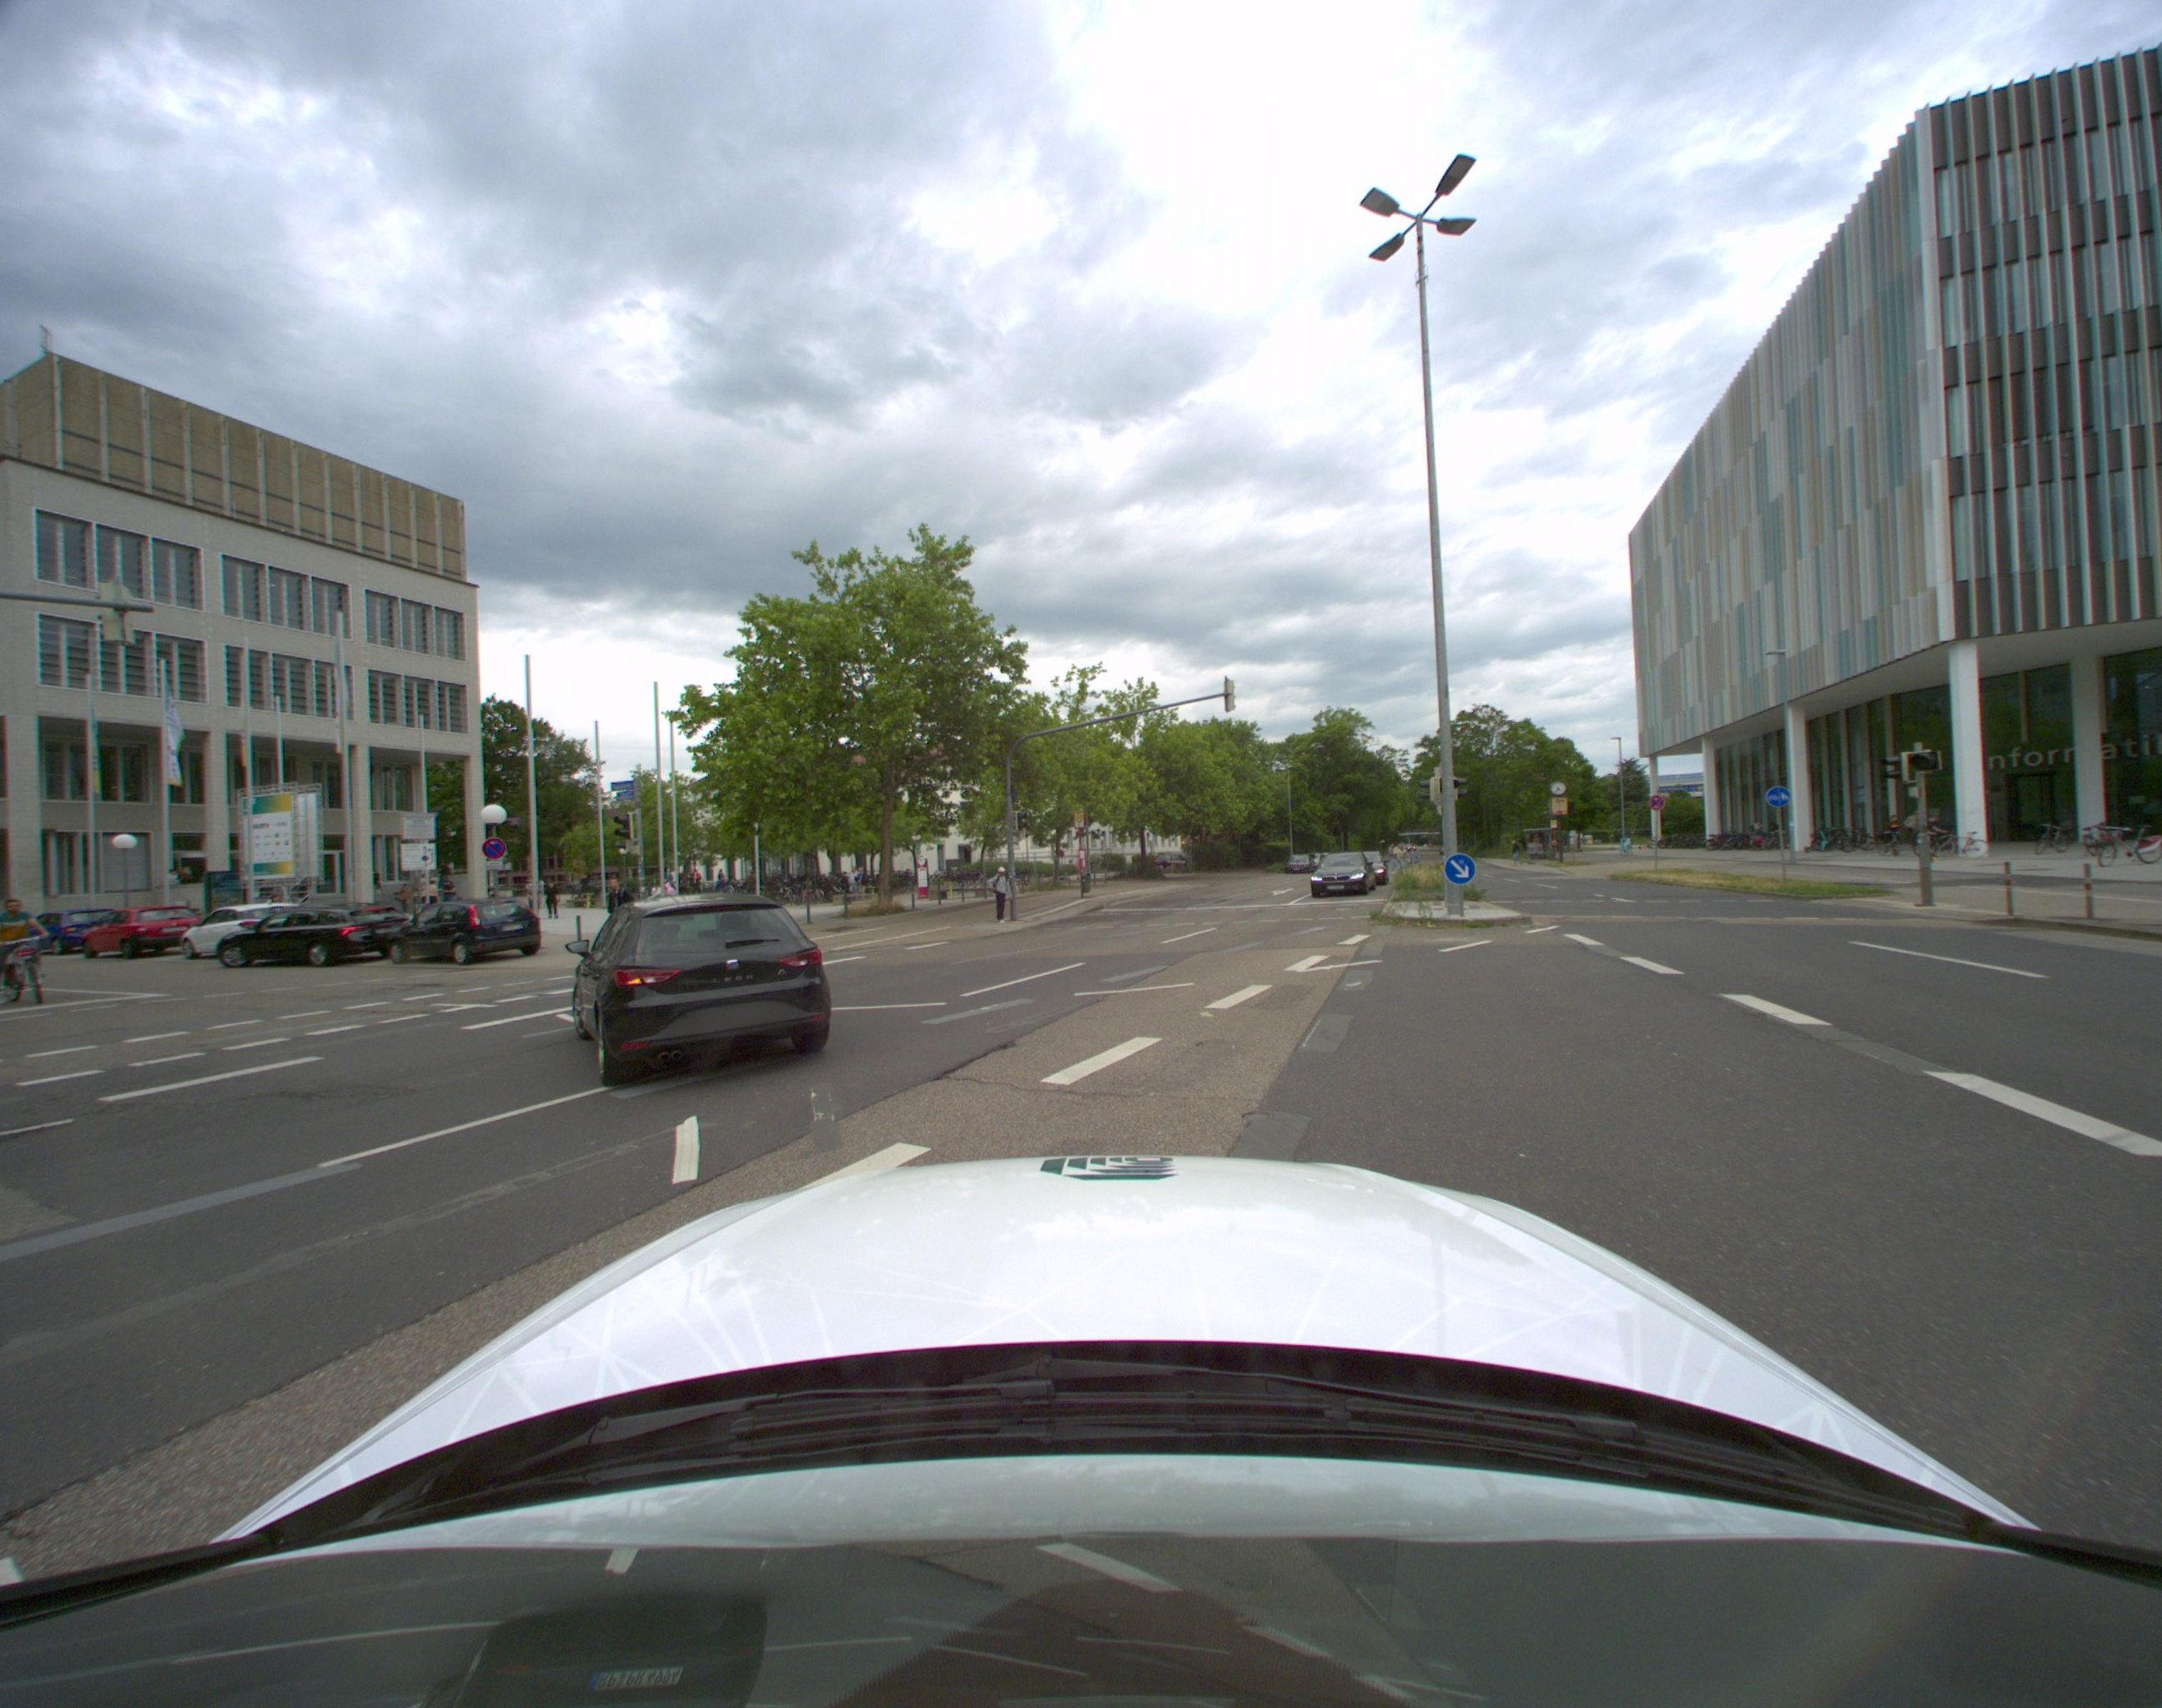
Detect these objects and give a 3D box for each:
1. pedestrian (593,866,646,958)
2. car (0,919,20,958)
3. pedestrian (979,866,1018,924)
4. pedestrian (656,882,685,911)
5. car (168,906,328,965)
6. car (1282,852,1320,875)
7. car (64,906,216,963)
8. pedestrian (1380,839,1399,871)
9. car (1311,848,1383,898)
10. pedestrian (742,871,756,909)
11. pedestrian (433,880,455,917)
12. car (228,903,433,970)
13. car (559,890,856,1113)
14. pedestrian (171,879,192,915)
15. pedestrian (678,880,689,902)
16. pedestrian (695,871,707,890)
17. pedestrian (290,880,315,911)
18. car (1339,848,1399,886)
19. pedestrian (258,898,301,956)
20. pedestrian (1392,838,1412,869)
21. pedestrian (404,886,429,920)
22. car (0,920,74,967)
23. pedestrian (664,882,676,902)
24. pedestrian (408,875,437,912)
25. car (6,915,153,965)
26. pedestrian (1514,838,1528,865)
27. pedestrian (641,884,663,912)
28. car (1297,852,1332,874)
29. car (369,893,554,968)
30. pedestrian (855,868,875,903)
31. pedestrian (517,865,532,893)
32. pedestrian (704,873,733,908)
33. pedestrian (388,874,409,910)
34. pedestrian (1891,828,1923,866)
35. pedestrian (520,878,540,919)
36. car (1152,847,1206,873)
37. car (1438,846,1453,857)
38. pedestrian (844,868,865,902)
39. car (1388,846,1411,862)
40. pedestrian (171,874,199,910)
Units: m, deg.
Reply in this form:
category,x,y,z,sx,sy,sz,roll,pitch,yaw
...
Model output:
category,x,y,z,sx,sy,sz,roll,pitch,yaw
pedestrian,-10.240,1.271,18.061,0.798,1.952,0.748,-2,-1,-43
car,-43.432,3.360,31.377,4.467,1.443,1.834,-3,1,21
pedestrian,-2.413,1.183,23.849,0.783,1.626,0.763,0,2,35
pedestrian,-21.601,2.236,42.855,0.959,1.420,0.855,-3,-1,11
car,-23.892,2.328,23.378,3.812,1.453,1.877,-3,-1,22
car,16.476,0.676,60.972,1.975,1.512,4.023,-3,-1,25
car,-29.173,2.495,25.245,4.222,1.473,1.727,-3,2,22
pedestrian,18.143,0.063,47.895,0.711,1.788,0.894,-3,-1,-2
car,9.412,0.624,28.617,1.976,1.489,4.315,-4,-1,22
pedestrian,-16.366,1.774,40.111,0.512,1.833,0.667,-3,-1,-27
pedestrian,-33.161,2.298,42.392,0.603,1.865,0.774,-4,0,-19
car,-19.281,2.111,20.948,4.428,1.401,1.876,-3,2,18
car,-3.762,1.101,7.746,1.796,1.419,4.084,-2,-1,-36
pedestrian,-43.360,2.060,39.263,0.796,1.659,0.635,-1,-1,39
pedestrian,-31.985,2.977,65.578,0.663,1.641,0.661,-4,0,-21
pedestrian,-34.070,2.411,72.990,0.658,1.641,0.666,-3,-1,20
pedestrian,-39.217,2.096,41.034,0.623,1.526,0.719,-1,-1,24
car,12.435,0.520,35.001,1.975,1.453,4.023,-3,-1,25
pedestrian,-25.734,2.334,26.140,0.810,1.787,0.799,-4,-1,34
pedestrian,18.925,-0.023,48.011,0.711,1.788,0.894,-3,-1,-2
pedestrian,-34.566,2.555,42.356,0.596,1.715,0.783,-4,-1,24
car,-38.949,3.224,29.576,4.365,1.442,1.865,-1,0,23
pedestrian,-35.836,3.313,70.999,0.658,1.641,0.666,-3,-1,21
pedestrian,-32.816,1.958,40.585,0.730,1.785,0.766,-3,-1,9
car,-34.162,2.925,27.780,4.326,1.411,1.709,-3,0,19
pedestrian,31.046,-0.173,57.493,0.799,1.810,0.592,-3,-1,27
pedestrian,-22.610,2.323,42.934,0.767,1.413,0.671,-3,-1,-9
car,18.718,0.707,65.243,1.975,1.618,4.023,-3,-1,25
car,-14.939,1.856,19.631,4.055,1.501,1.637,-4,1,23
pedestrian,-10.989,1.614,41.400,0.649,1.715,0.589,-4,-1,27
pedestrian,-33.910,1.519,49.671,0.740,1.641,0.922,0,-1,-34
pedestrian,-18.357,1.862,41.243,0.957,1.704,0.857,-3,-1,21
pedestrian,-35.813,1.973,42.747,0.612,1.841,0.596,-4,-1,24
pedestrian,40.089,-0.365,39.543,0.792,1.788,0.767,-4,0,24
pedestrian,-24.840,1.992,36.726,0.645,1.808,0.642,0,-1,-28
car,7.657,0.473,63.960,4.032,1.753,2.003,-3,0,6
car,54.448,-0.370,121.792,1.795,1.618,4.021,-3,-1,21
pedestrian,-11.594,1.584,41.696,0.670,1.715,0.677,-4,0,28
car,35.866,0.005,91.692,1.975,1.618,4.218,-3,-1,25
pedestrian,-42.612,1.803,38.743,0.811,1.659,0.623,0,-1,-43
